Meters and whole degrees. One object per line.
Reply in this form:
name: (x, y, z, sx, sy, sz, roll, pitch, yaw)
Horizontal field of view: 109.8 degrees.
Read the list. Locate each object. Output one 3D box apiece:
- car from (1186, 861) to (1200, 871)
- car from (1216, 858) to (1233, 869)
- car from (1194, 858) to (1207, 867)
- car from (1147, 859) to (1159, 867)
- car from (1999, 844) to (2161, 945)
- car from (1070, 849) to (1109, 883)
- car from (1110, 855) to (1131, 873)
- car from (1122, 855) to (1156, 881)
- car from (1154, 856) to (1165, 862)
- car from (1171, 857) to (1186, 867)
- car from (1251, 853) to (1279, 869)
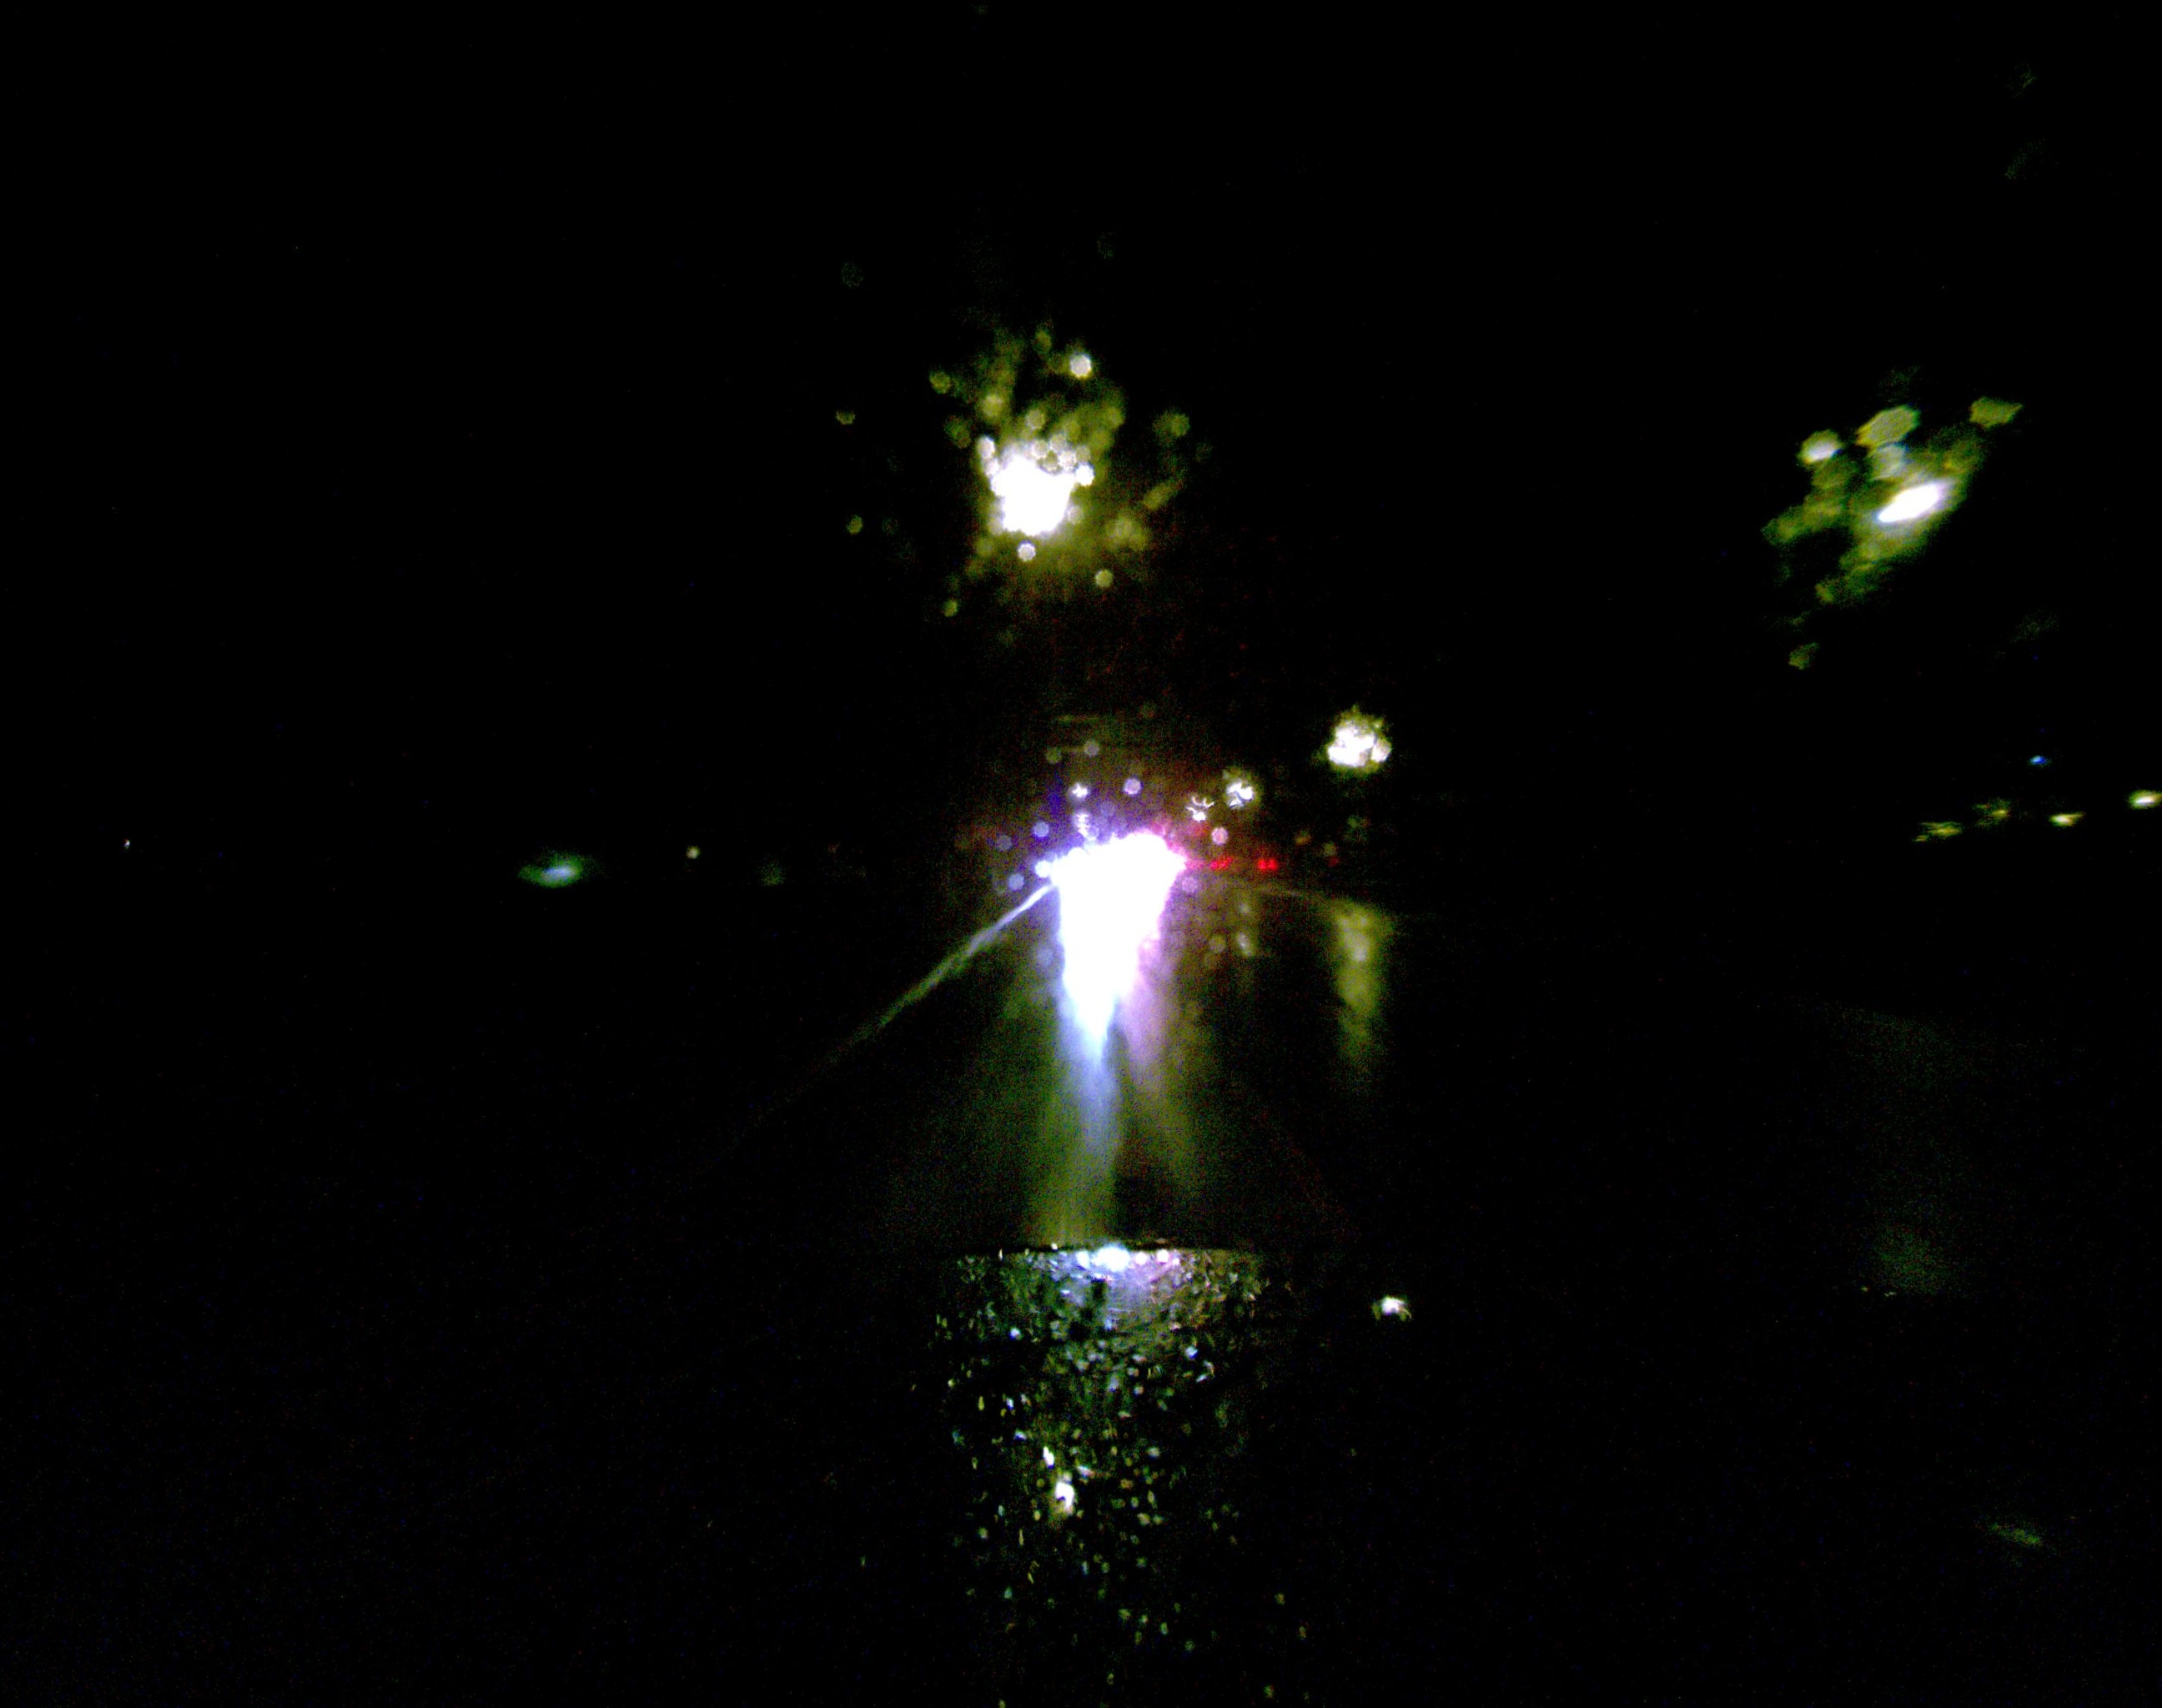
car: (19.016, 2.079, 129.042, 1.847, 1.583, 4.366, -1, 0, 2)
car: (21.545, 1.459, 113.947, 1.847, 1.583, 4.366, -1, 0, 2)
car: (21.903, 1.533, 139.898, 1.847, 1.583, 4.366, -1, 0, 2)
car: (15.371, 1.983, 163.034, 1.848, 1.583, 5.326, -1, 0, -3)
car: (19.404, 0.682, 13.090, 1.833, 1.703, 4.441, -1, 0, 1)
car: (0.492, 0.630, 41.676, 1.950, 1.709, 4.442, -1, 0, 1)
car: (3.849, 0.974, 74.063, 1.833, 1.696, 4.194, -1, 0, 1)
car: (3.632, 0.859, 48.494, 1.833, 1.518, 4.875, -1, 0, 1)
car: (18.170, 1.114, 175.427, 1.848, 1.350, 5.558, -1, 0, 0)
car: (15.180, 1.285, 118.421, 1.847, 1.477, 4.366, -1, 0, 2)
car: (20.720, 0.765, 85.548, 2.029, 1.674, 4.548, -1, 0, 0)
